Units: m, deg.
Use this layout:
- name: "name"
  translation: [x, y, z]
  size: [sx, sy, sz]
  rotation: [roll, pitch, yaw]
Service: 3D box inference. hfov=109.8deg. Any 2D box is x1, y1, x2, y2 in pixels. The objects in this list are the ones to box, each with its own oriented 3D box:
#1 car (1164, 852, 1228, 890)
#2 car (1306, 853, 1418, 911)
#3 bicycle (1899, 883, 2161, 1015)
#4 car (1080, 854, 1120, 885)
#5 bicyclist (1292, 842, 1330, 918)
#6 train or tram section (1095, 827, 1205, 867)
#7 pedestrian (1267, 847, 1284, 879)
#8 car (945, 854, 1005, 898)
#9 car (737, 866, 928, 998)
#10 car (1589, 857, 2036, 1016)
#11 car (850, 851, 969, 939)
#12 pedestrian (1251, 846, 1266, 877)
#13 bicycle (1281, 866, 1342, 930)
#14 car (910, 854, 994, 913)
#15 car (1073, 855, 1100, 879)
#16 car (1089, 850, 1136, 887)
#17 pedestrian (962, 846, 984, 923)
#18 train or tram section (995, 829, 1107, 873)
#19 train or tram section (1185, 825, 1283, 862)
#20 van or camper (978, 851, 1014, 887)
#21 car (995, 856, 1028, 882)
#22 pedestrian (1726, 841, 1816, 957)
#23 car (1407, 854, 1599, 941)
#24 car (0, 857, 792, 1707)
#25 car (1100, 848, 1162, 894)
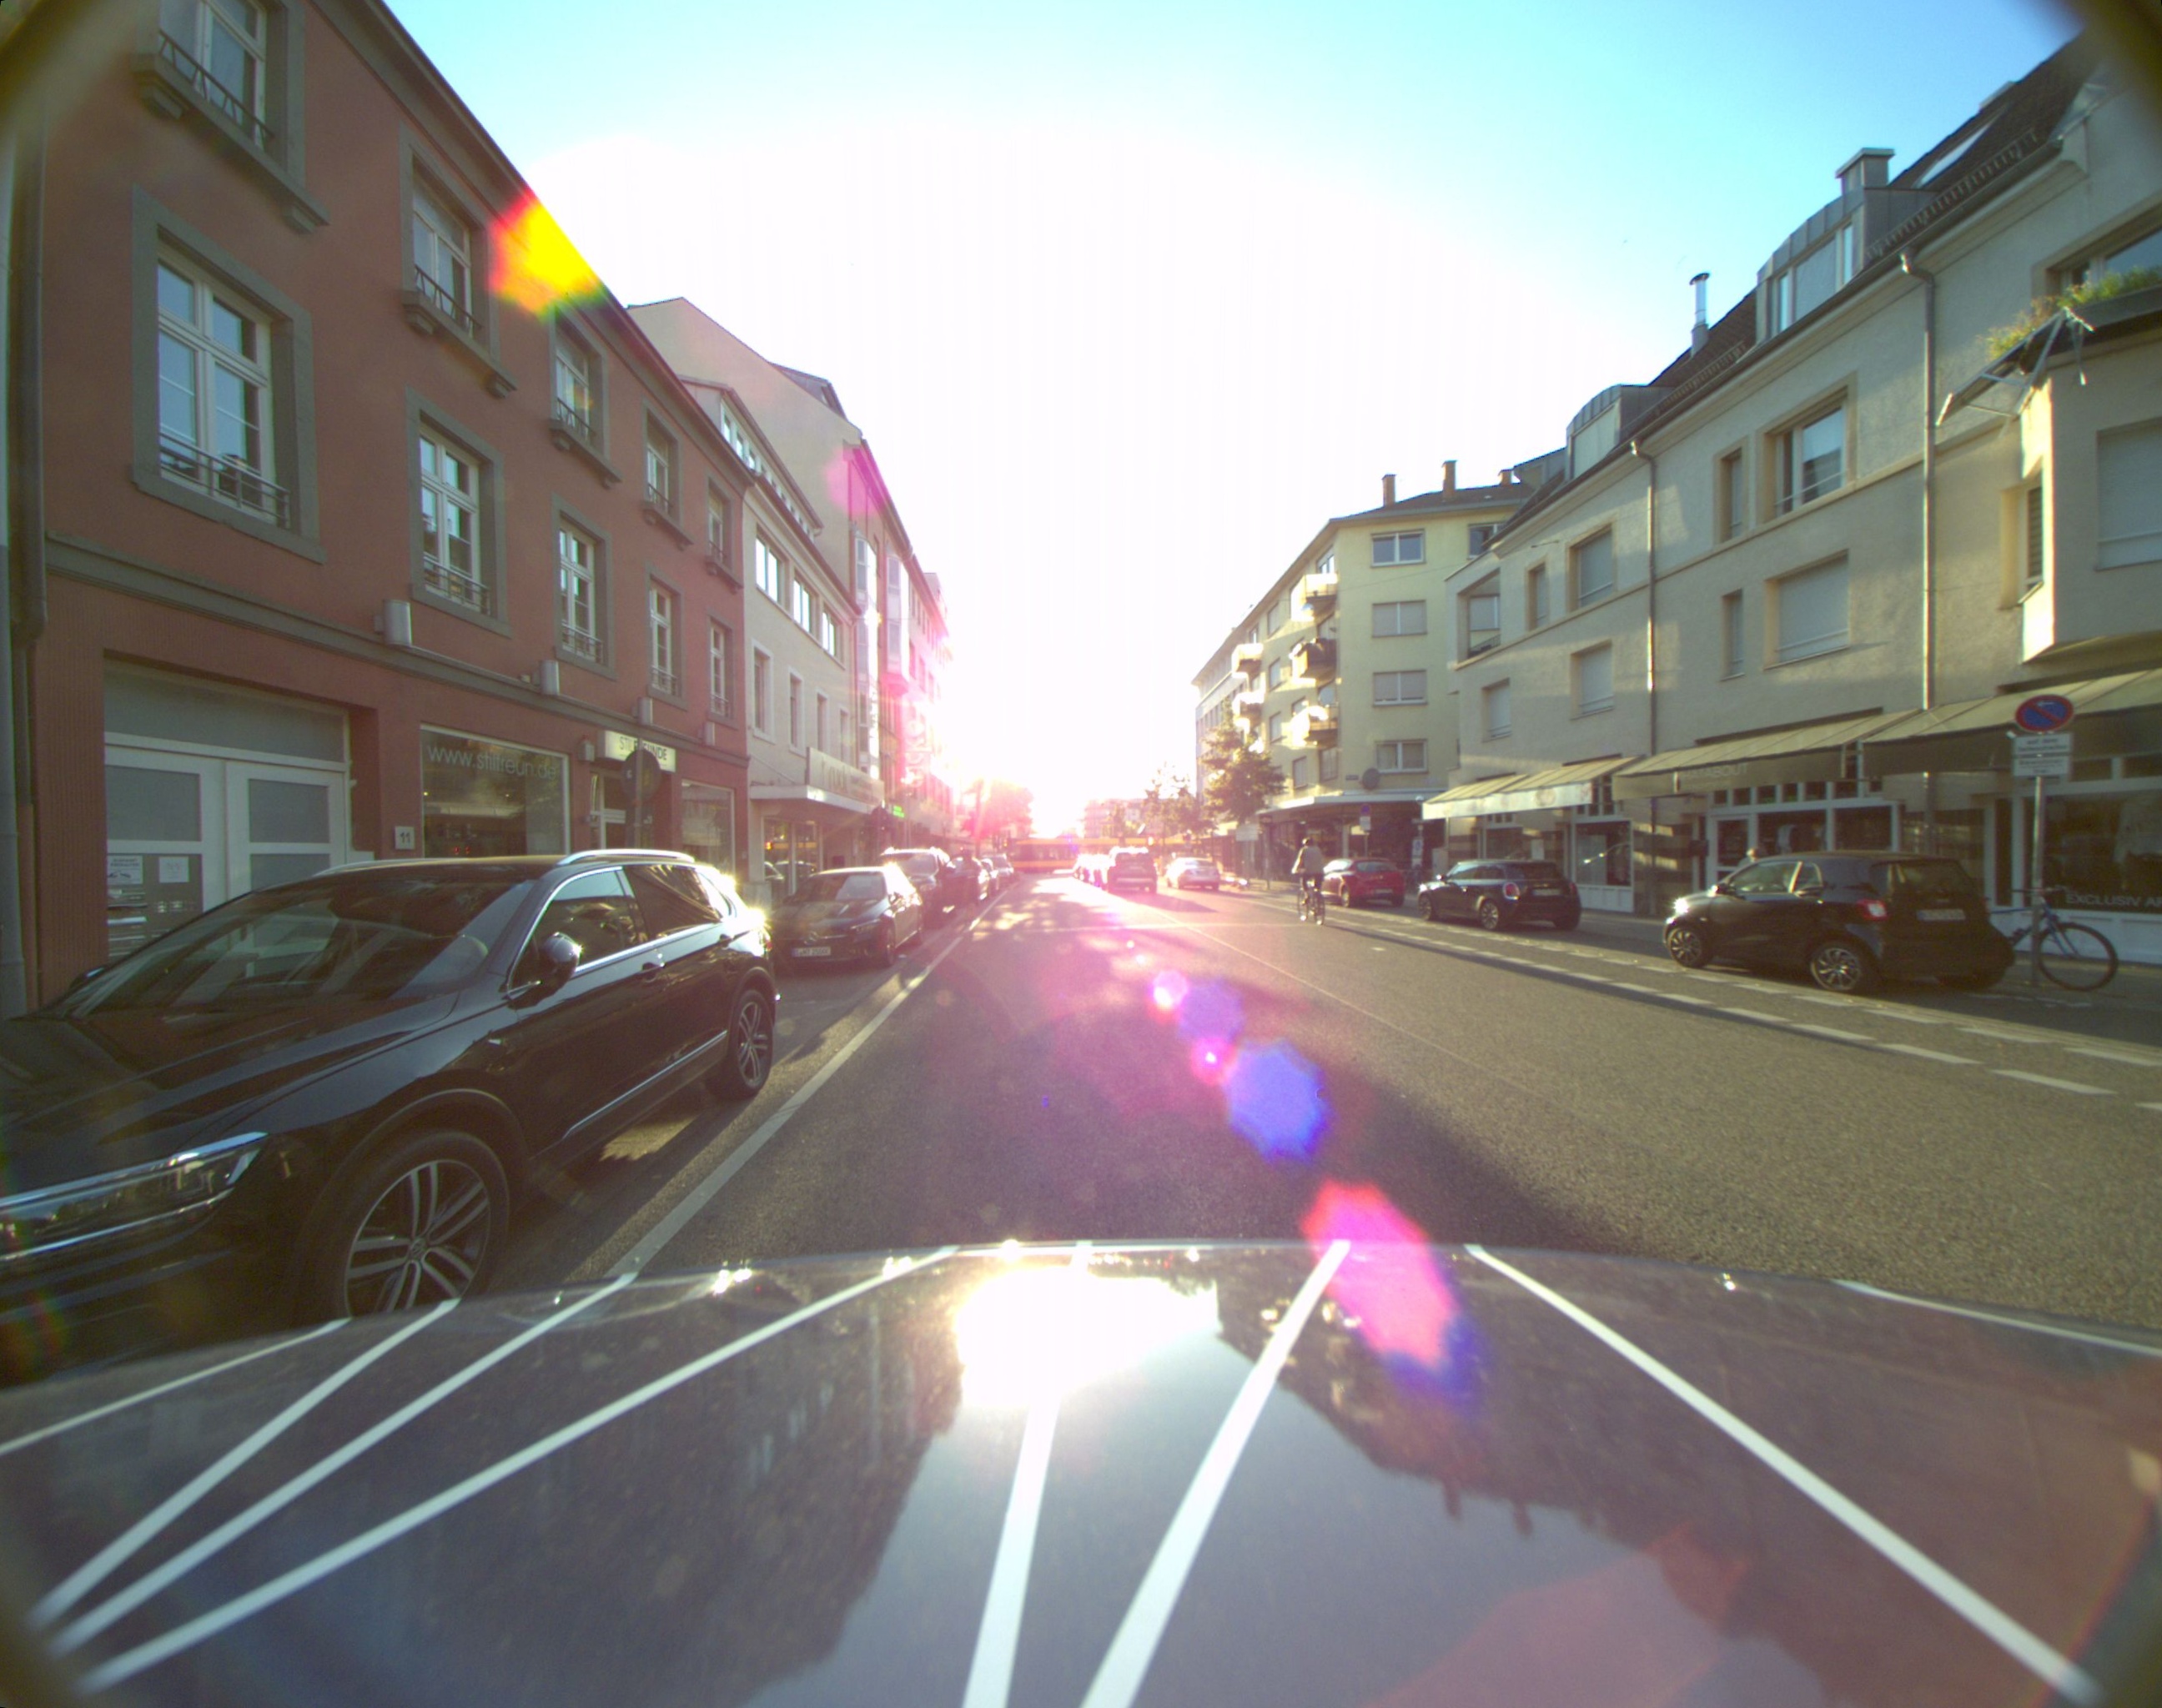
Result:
- name: "car"
  translation: [5.195, 0.733, 34.856]
  size: [1.999, 1.595, 4.403]
  rotation: [0, 0, -3]
- name: "car"
  translation: [8.392, 0.774, 23.071]
  size: [1.794, 1.571, 3.785]
  rotation: [-1, 1, -4]
- name: "bicycle"
  translation: [10.427, 0.972, 8.429]
  size: [0.560, 1.199, 1.977]
  rotation: [0, 1, 0]
- name: "car"
  translation: [1.037, 0.840, 43.407]
  size: [1.843, 1.639, 4.298]
  rotation: [1, 0, -4]
- name: "bicyclist"
  translation: [4.883, 0.532, 16.165]
  size: [0.548, 1.571, 0.803]
  rotation: [-1, 1, 1]
- name: "train or tram section"
  translation: [7.381, -0.815, 79.939]
  size: [11.863, 3.788, 3.139]
  rotation: [-3, 1, -32]
- name: "pedestrian"
  translation: [10.888, 0.505, 42.490]
  size: [0.720, 1.781, 0.666]
  rotation: [-1, 1, -2]
- name: "car"
  translation: [-4.240, 0.836, 31.066]
  size: [1.999, 1.645, 4.478]
  rotation: [-1, 0, -3]
- name: "car"
  translation: [-3.641, 1.036, 12.020]
  size: [1.689, 1.479, 4.409]
  rotation: [-3, 1, -3]
- name: "car"
  translation: [8.899, 0.853, 9.823]
  size: [1.794, 1.571, 3.965]
  rotation: [-1, 1, -5]
- name: "car"
  translation: [-3.974, 0.841, 18.521]
  size: [1.999, 1.767, 5.316]
  rotation: [-2, 1, -4]
- name: "pedestrian"
  translation: [10.400, 0.430, 44.546]
  size: [0.720, 1.781, 0.666]
  rotation: [-1, 1, -2]
- name: "bicycle"
  translation: [4.909, 0.902, 16.331]
  size: [0.665, 1.235, 2.130]
  rotation: [1, 0, 1]
- name: "car"
  translation: [-4.061, 0.857, 24.628]
  size: [1.999, 1.645, 4.626]
  rotation: [-2, 1, -2]
- name: "car"
  translation: [0.325, 0.833, 49.740]
  size: [1.503, 1.426, 4.026]
  rotation: [1, 0, -4]
- name: "car"
  translation: [1.467, 0.658, 36.773]
  size: [1.843, 1.639, 4.299]
  rotation: [1, 0, -3]
- name: "pedestrian"
  translation: [-2.651, 0.735, 18.589]
  size: [0.485, 1.847, 0.539]
  rotation: [-1, 1, -10]
- name: "train or tram section"
  translation: [-2.803, -0.361, 73.551]
  size: [10.456, 3.788, 3.139]
  rotation: [-3, 1, -32]
- name: "train or tram section"
  translation: [17.529, -1.267, 86.276]
  size: [11.863, 3.788, 3.139]
  rotation: [-3, 1, -32]
- name: "van or camper"
  translation: [-4.632, 0.758, 40.781]
  size: [1.794, 1.763, 4.554]
  rotation: [-1, 1, -8]
- name: "car"
  translation: [-4.270, 0.917, 47.088]
  size: [1.694, 1.494, 3.786]
  rotation: [0, 1, -1]
- name: "pedestrian"
  translation: [10.668, 0.672, 11.771]
  size: [0.720, 1.724, 0.738]
  rotation: [-1, 1, -3]
- name: "car"
  translation: [8.755, 0.817, 16.171]
  size: [1.794, 1.571, 3.785]
  rotation: [-1, 1, -4]
- name: "car"
  translation: [-3.031, 0.922, 3.524]
  size: [1.799, 1.688, 4.458]
  rotation: [-3, 1, -3]
- name: "car"
  translation: [1.858, 0.587, 29.687]
  size: [1.843, 1.639, 4.298]
  rotation: [1, 0, -4]
